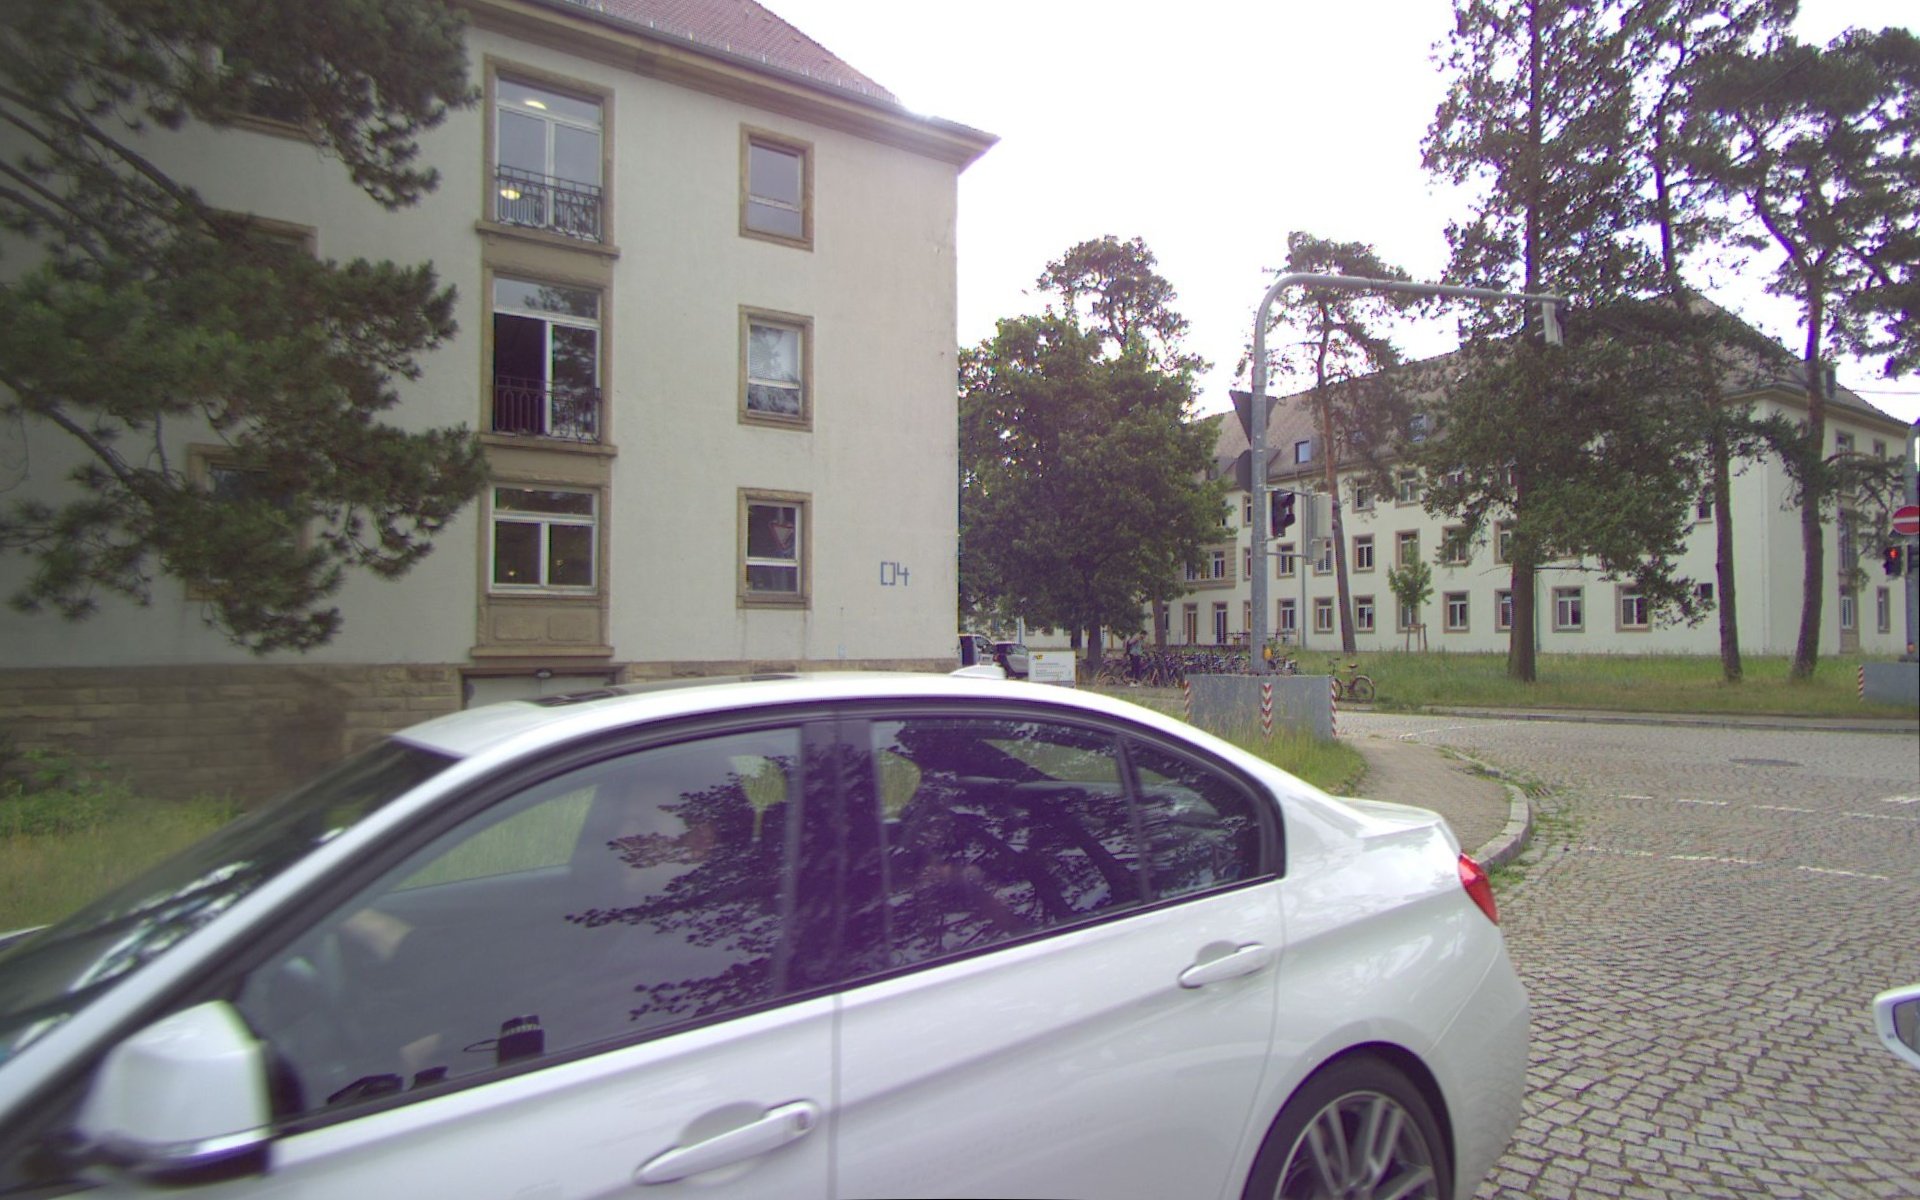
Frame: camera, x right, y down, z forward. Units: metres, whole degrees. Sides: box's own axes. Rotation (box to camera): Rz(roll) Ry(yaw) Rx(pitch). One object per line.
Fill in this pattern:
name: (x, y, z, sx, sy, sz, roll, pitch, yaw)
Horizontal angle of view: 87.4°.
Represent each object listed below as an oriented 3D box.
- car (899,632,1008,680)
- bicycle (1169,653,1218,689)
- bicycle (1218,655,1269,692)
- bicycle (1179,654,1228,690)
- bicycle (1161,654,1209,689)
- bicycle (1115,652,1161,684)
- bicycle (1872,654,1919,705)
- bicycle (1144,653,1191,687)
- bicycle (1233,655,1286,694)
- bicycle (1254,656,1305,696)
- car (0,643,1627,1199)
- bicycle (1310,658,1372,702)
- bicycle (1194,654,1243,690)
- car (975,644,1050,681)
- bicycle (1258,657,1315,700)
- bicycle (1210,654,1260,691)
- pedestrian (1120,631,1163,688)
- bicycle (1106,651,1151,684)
car: (-0.232, 2.418, 44.013, 4.878, 1.977, 1.839, 2, -2, -44)
bicycle: (7.369, 2.223, 31.692, 1.567, 1.093, 0.512, 2, -3, -31)
bicycle: (8.460, 2.175, 29.943, 1.567, 1.093, 0.512, 2, -3, -31)
bicycle: (7.600, 2.217, 31.305, 1.567, 1.093, 0.512, 2, -3, -31)
bicycle: (7.169, 2.255, 32.020, 1.567, 1.093, 0.512, 2, -3, -31)
bicycle: (6.036, 2.295, 34.047, 1.567, 1.093, 0.512, 2, -3, -31)
bicycle: (20.677, 1.701, 21.608, 0.510, 1.079, 1.457, 0, -2, -32)
bicycle: (6.772, 2.277, 32.708, 1.567, 1.093, 0.512, 2, -3, -31)
bicycle: (8.733, 2.168, 29.287, 1.565, 1.093, 0.512, 1, -3, -28)
bicycle: (9.146, 2.165, 28.747, 1.569, 1.093, 0.511, 2, -3, -34)
car: (-0.642, 0.862, 2.069, 4.171, 1.456, 1.765, 1, -5, -32)
bicycle: (9.646, 2.005, 25.483, 0.510, 1.079, 1.457, 2, -3, -32)
bicycle: (7.929, 2.191, 30.778, 1.567, 1.093, 0.512, 2, -3, -31)
car: (2.179, 2.570, 41.468, 2.756, 1.446, 1.509, 2, -2, -31)
bicycle: (8.688, 2.087, 26.809, 0.510, 1.093, 1.457, 2, -3, -32)
bicycle: (8.284, 2.177, 30.258, 1.567, 1.093, 0.512, 2, -3, -31)
pedestrian: (5.922, 1.924, 32.899, 1.135, 1.812, 1.064, -1, -1, -2)
bicycle: (5.777, 2.298, 34.475, 1.567, 1.093, 0.512, 2, -3, -31)
